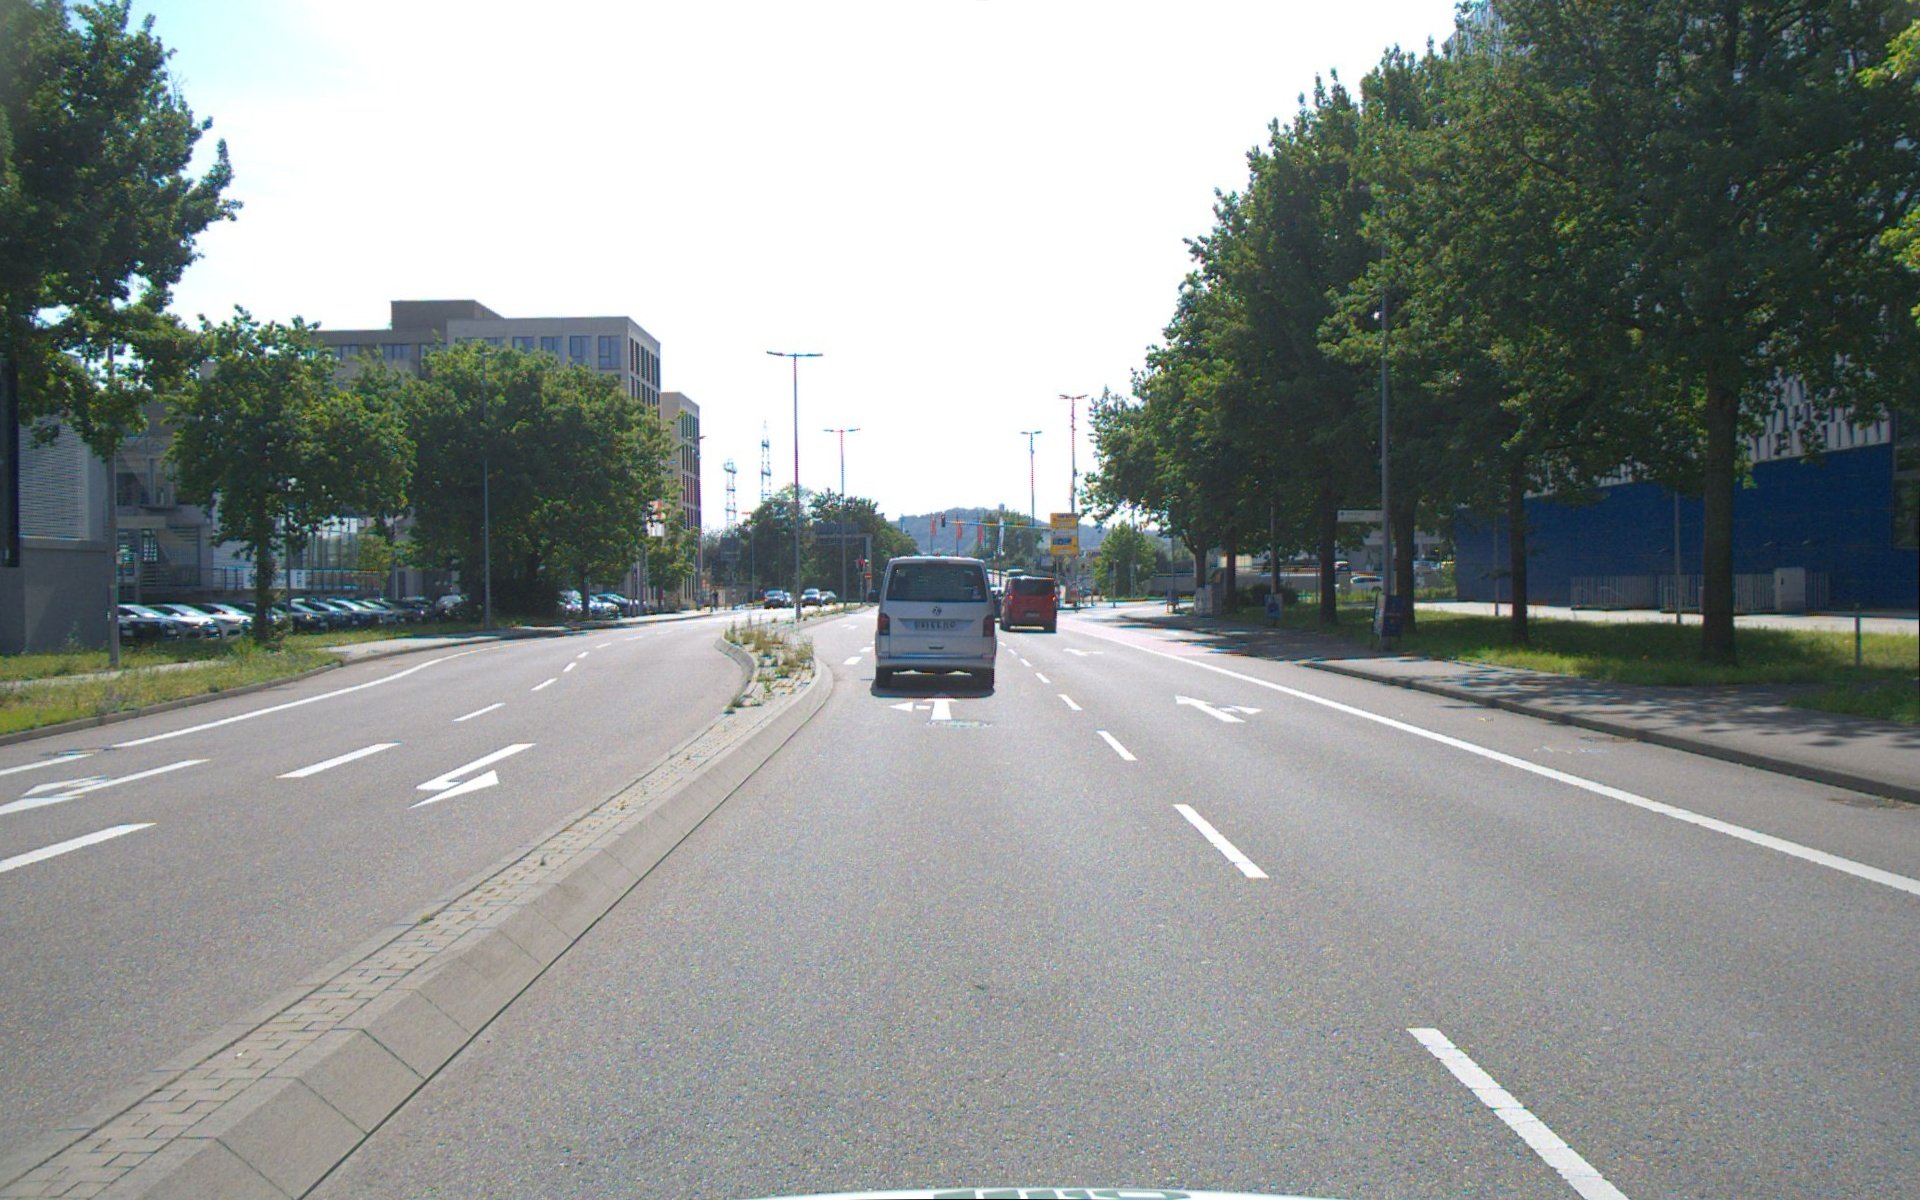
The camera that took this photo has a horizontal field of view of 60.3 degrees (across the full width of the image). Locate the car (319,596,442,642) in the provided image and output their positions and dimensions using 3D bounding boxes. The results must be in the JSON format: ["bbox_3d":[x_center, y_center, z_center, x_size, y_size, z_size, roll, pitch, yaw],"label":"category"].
[{"bbox_3d":[-23.369,0.767,66.779,4.162,1.467,2.000,-5,0,0],"label":"car"}]

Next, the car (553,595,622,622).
[{"bbox_3d":[-23.118,0.525,102.699,3.794,1.388,1.749,-4,1,2],"label":"car"}]

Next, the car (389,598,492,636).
[{"bbox_3d":[-23.429,0.756,74.666,3.906,1.382,2.000,-5,0,0],"label":"car"}]

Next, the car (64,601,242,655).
[{"bbox_3d":[-23.439,0.800,48.161,4.091,1.176,2.086,-4,1,-3],"label":"car"}]

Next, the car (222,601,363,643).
[{"bbox_3d":[-23.290,0.762,57.842,4.091,1.096,1.954,-4,1,-3],"label":"car"}]

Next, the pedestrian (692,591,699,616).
[{"bbox_3d":[-21.858,0.314,136.808,0.548,2.049,0.575,0,0,-9],"label":"pedestrian"}]

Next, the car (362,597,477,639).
[{"bbox_3d":[-23.505,0.777,72.038,4.218,1.467,2.051,-5,0,-1],"label":"car"}]

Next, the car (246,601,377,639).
[{"bbox_3d":[-23.438,0.714,59.873,4.027,1.052,1.696,-4,1,-3],"label":"car"}]

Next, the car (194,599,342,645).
[{"bbox_3d":[-23.238,0.726,55.650,4.091,1.211,1.954,-4,1,-3],"label":"car"}]

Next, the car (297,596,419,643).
[{"bbox_3d":[-23.281,0.745,64.060,3.906,1.467,2.000,-5,0,0],"label":"car"}]

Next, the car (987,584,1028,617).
[{"bbox_3d":[2.177,0.007,76.949,1.711,1.484,4.475,0,0,-1],"label":"car"}]

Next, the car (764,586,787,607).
[{"bbox_3d":[-16.267,-0.312,146.087,1.704,1.646,4.207,-4,0,-3],"label":"car"}]

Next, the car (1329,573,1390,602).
[{"bbox_3d":[31.128,-0.974,129.023,4.310,2.029,1.482,-4,0,4],"label":"car"}]

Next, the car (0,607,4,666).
[{"bbox_3d":[-23.651,0.874,36.097,4.410,1.312,1.918,-1,0,-3],"label":"car"}]

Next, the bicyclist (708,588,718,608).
[{"bbox_3d":[-19.996,-0.153,133.943,0.606,1.553,1.036,-2,0,0],"label":"bicyclist"}]

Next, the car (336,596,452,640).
[{"bbox_3d":[-23.666,0.740,69.220,4.056,1.467,2.000,-5,0,0],"label":"car"}]

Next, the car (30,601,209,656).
[{"bbox_3d":[-23.286,0.767,45.953,3.908,1.176,1.896,-4,1,-3],"label":"car"}]

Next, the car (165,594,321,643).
[{"bbox_3d":[-23.033,0.591,53.249,4.091,1.211,1.954,-4,1,-3],"label":"car"}]

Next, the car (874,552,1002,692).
[{"bbox_3d":[-0.351,0.298,26.061,1.846,2.025,3.999,0,0,-1],"label":"car"}]

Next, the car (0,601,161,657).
[{"bbox_3d":[-23.290,0.768,43.119,3.908,1.176,1.896,-4,1,-3],"label":"car"}]

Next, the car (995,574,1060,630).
[{"bbox_3d":[2.509,0.044,62.674,1.928,2.002,5.122,0,0,-4],"label":"car"}]

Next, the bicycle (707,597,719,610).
[{"bbox_3d":[-19.991,0.287,134.060,0.666,0.957,1.973,-2,0,0],"label":"bicycle"}]

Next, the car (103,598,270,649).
[{"bbox_3d":[-23.620,0.699,50.610,4.091,1.211,1.954,-4,1,-3],"label":"car"}]
